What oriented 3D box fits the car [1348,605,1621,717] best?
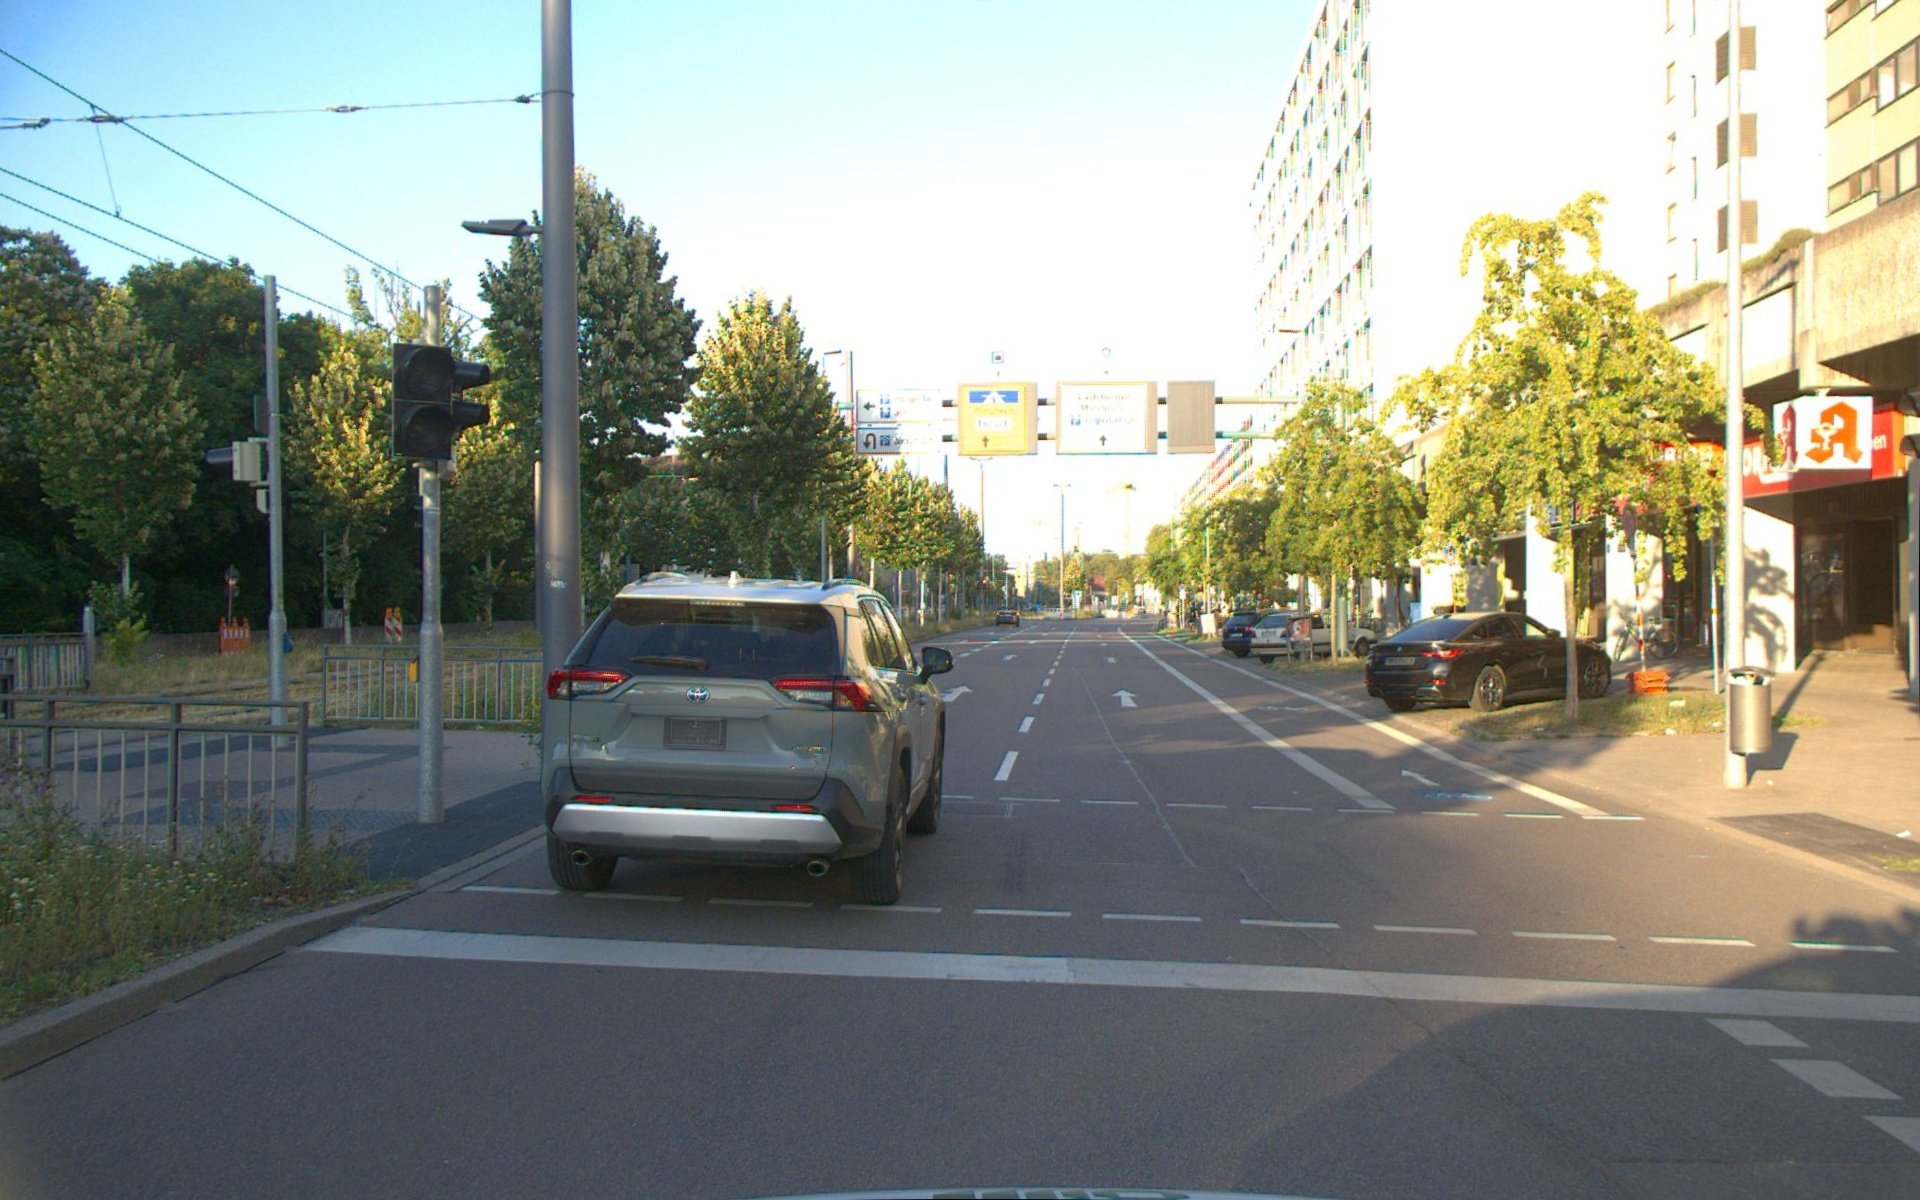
[{"bbox_3d":[8.298,0.901,25.975,4.558,1.478,1.790,-2,0,-37],"label":"car"}]

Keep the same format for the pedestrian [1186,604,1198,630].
[{"bbox_3d":[15.231,1.114,108.573,0.640,1.732,0.689,-2,0,4],"label":"pedestrian"}]

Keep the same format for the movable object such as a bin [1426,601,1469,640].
[{"bbox_3d":[17.603,0.722,59.711,1.157,1.346,1.267,-3,0,2],"label":"movable object such as a bin"}]

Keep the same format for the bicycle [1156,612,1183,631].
[{"bbox_3d":[14.644,1.484,115.494,1.757,1.214,0.567,-2,0,-1],"label":"bicycle"}]

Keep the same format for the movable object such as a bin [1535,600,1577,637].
[{"bbox_3d":[21.508,0.664,59.696,1.157,1.336,1.088,-1,0,2],"label":"movable object such as a bin"}]

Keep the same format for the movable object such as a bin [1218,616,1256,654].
[{"bbox_3d":[9.966,1.243,59.533,1.063,1.324,1.360,0,0,-2],"label":"movable object such as a bin"}]

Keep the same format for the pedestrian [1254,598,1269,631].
[{"bbox_3d":[17.801,0.861,97.574,0.728,1.881,0.941,-3,-1,13],"label":"pedestrian"}]

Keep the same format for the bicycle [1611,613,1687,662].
[{"bbox_3d":[15.891,0.868,38.153,1.539,1.067,0.433,-2,0,3],"label":"bicycle"}]

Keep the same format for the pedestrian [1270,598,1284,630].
[{"bbox_3d":[18.820,0.840,98.204,0.740,1.856,0.941,-2,-1,13],"label":"pedestrian"}]

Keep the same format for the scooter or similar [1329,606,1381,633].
[{"bbox_3d":[19.126,0.942,80.098,2.322,1.203,0.621,-2,0,3],"label":"scooter or similar"}]

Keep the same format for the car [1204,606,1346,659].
[{"bbox_3d":[10.413,1.061,54.505,4.617,1.535,1.915,-2,-1,-36],"label":"car"}]

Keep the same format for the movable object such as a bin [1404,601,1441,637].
[{"bbox_3d":[17.941,0.732,64.147,1.082,1.353,1.283,-2,0,3],"label":"movable object such as a bin"}]

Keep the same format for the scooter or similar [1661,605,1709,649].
[{"bbox_3d":[20.623,0.757,47.053,0.393,1.181,1.828,2,0,-5],"label":"scooter or similar"}]

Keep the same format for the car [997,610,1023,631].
[{"bbox_3d":[3.492,1.402,115.904,1.639,1.376,4.002,1,0,4],"label":"car"}]

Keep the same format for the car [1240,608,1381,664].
[{"bbox_3d":[10.170,1.038,47.916,3.944,1.441,1.730,-2,-1,-34],"label":"car"}]

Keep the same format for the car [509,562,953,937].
[{"bbox_3d":[-1.080,0.687,9.824,1.795,1.702,4.284,1,0,3],"label":"car"}]

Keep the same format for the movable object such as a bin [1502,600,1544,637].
[{"bbox_3d":[20.331,0.667,59.757,1.157,1.336,1.125,-1,0,2],"label":"movable object such as a bin"}]

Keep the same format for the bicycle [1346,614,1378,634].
[{"bbox_3d":[18.656,1.094,76.760,1.392,0.907,0.457,-1,0,3],"label":"bicycle"}]
